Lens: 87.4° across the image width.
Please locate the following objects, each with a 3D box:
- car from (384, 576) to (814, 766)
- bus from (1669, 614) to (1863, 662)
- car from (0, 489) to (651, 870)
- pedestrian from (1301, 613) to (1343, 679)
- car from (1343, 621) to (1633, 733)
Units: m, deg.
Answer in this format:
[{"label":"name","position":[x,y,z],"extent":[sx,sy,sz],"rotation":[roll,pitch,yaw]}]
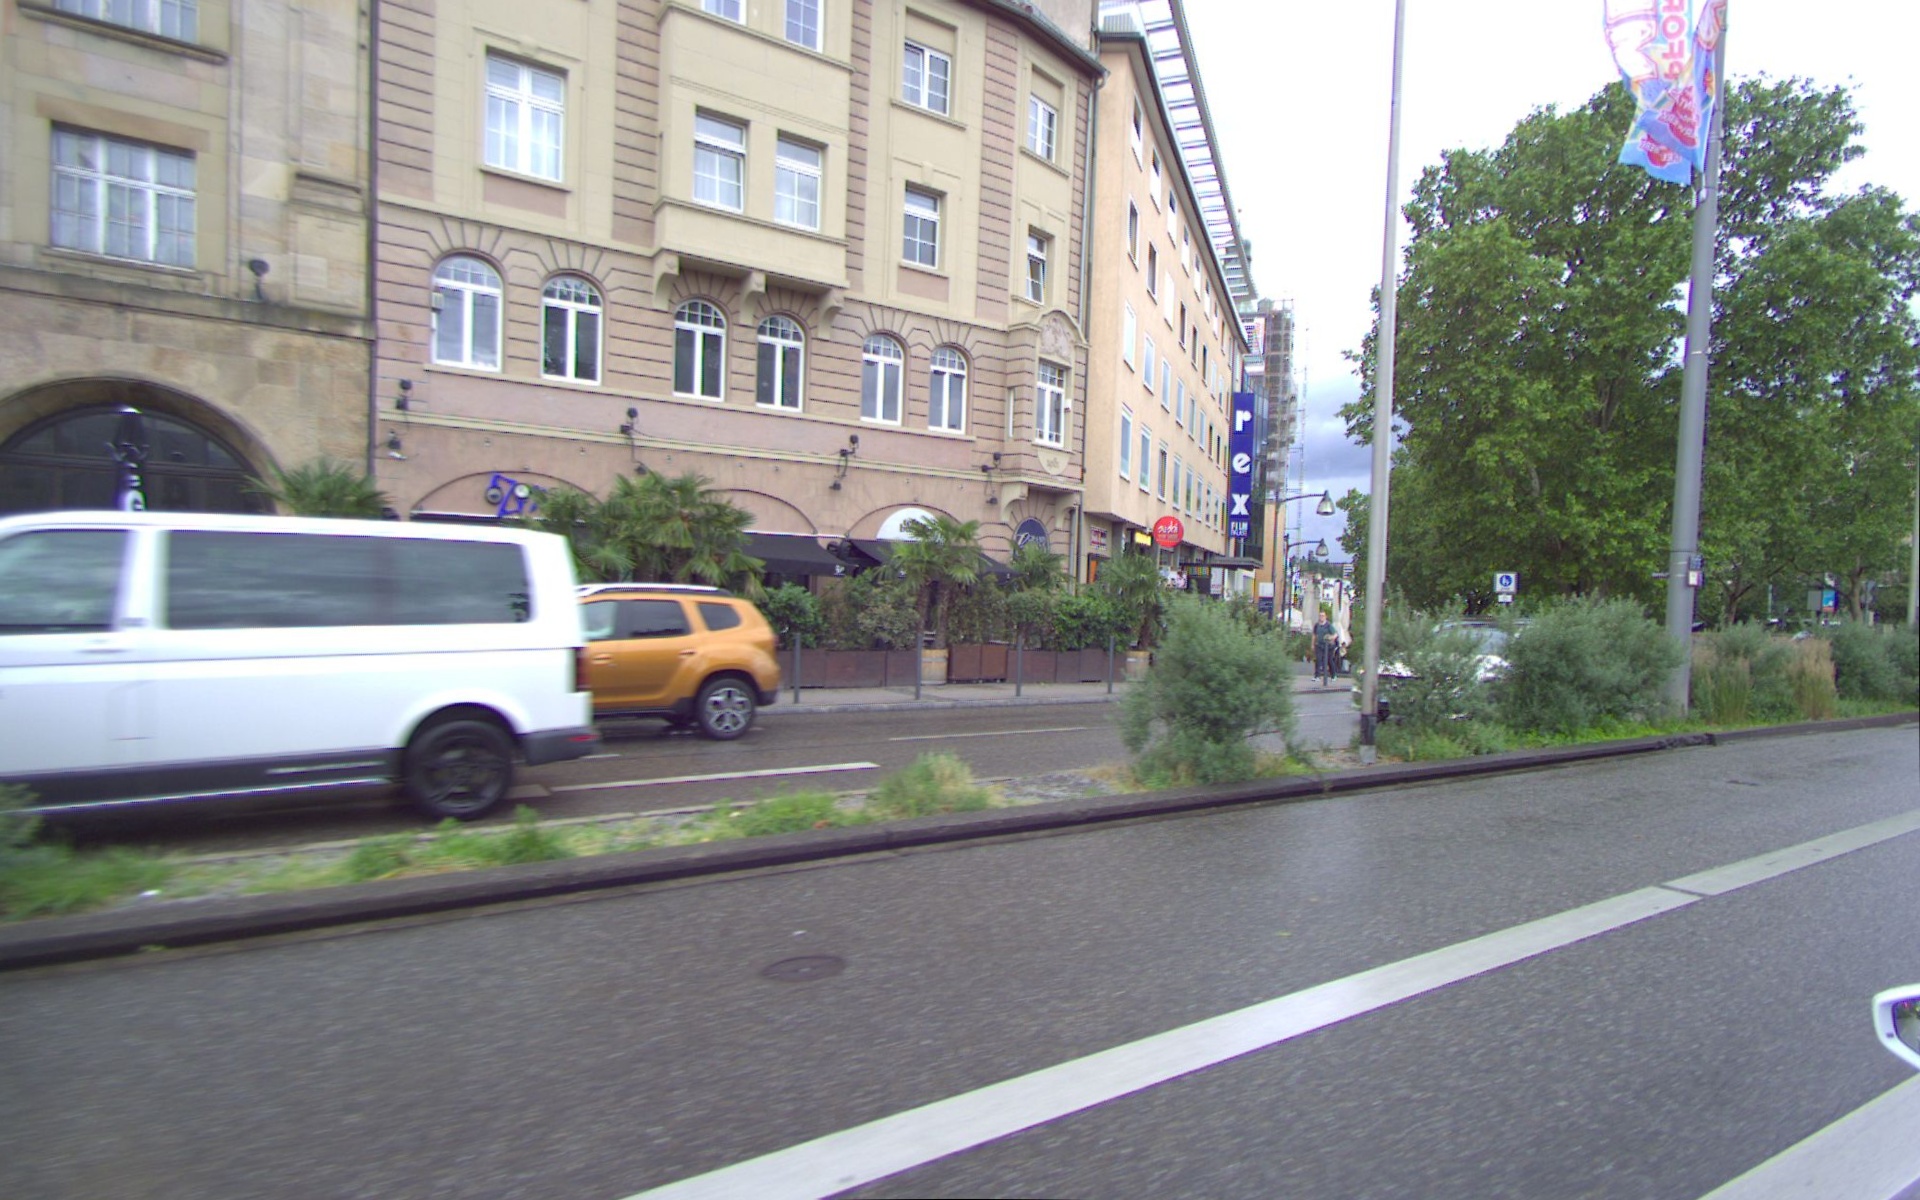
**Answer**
[{"label":"car","position":[-3.881,0.674,11.008],"extent":[4.061,1.703,1.980],"rotation":[1,0,-35]},{"label":"bus","position":[56.879,2.815,71.578],"extent":[2.837,3.058,11.959],"rotation":[2,-3,-9]},{"label":"car","position":[-4.744,0.434,6.652],"extent":[4.806,2.000,1.908],"rotation":[1,0,-35]},{"label":"pedestrian","position":[8.660,1.083,24.025],"extent":[0.722,1.550,0.683],"rotation":[1,-1,-42]},{"label":"car","position":[8.115,1.078,15.266],"extent":[4.932,1.425,1.780],"rotation":[2,-1,-34]}]
